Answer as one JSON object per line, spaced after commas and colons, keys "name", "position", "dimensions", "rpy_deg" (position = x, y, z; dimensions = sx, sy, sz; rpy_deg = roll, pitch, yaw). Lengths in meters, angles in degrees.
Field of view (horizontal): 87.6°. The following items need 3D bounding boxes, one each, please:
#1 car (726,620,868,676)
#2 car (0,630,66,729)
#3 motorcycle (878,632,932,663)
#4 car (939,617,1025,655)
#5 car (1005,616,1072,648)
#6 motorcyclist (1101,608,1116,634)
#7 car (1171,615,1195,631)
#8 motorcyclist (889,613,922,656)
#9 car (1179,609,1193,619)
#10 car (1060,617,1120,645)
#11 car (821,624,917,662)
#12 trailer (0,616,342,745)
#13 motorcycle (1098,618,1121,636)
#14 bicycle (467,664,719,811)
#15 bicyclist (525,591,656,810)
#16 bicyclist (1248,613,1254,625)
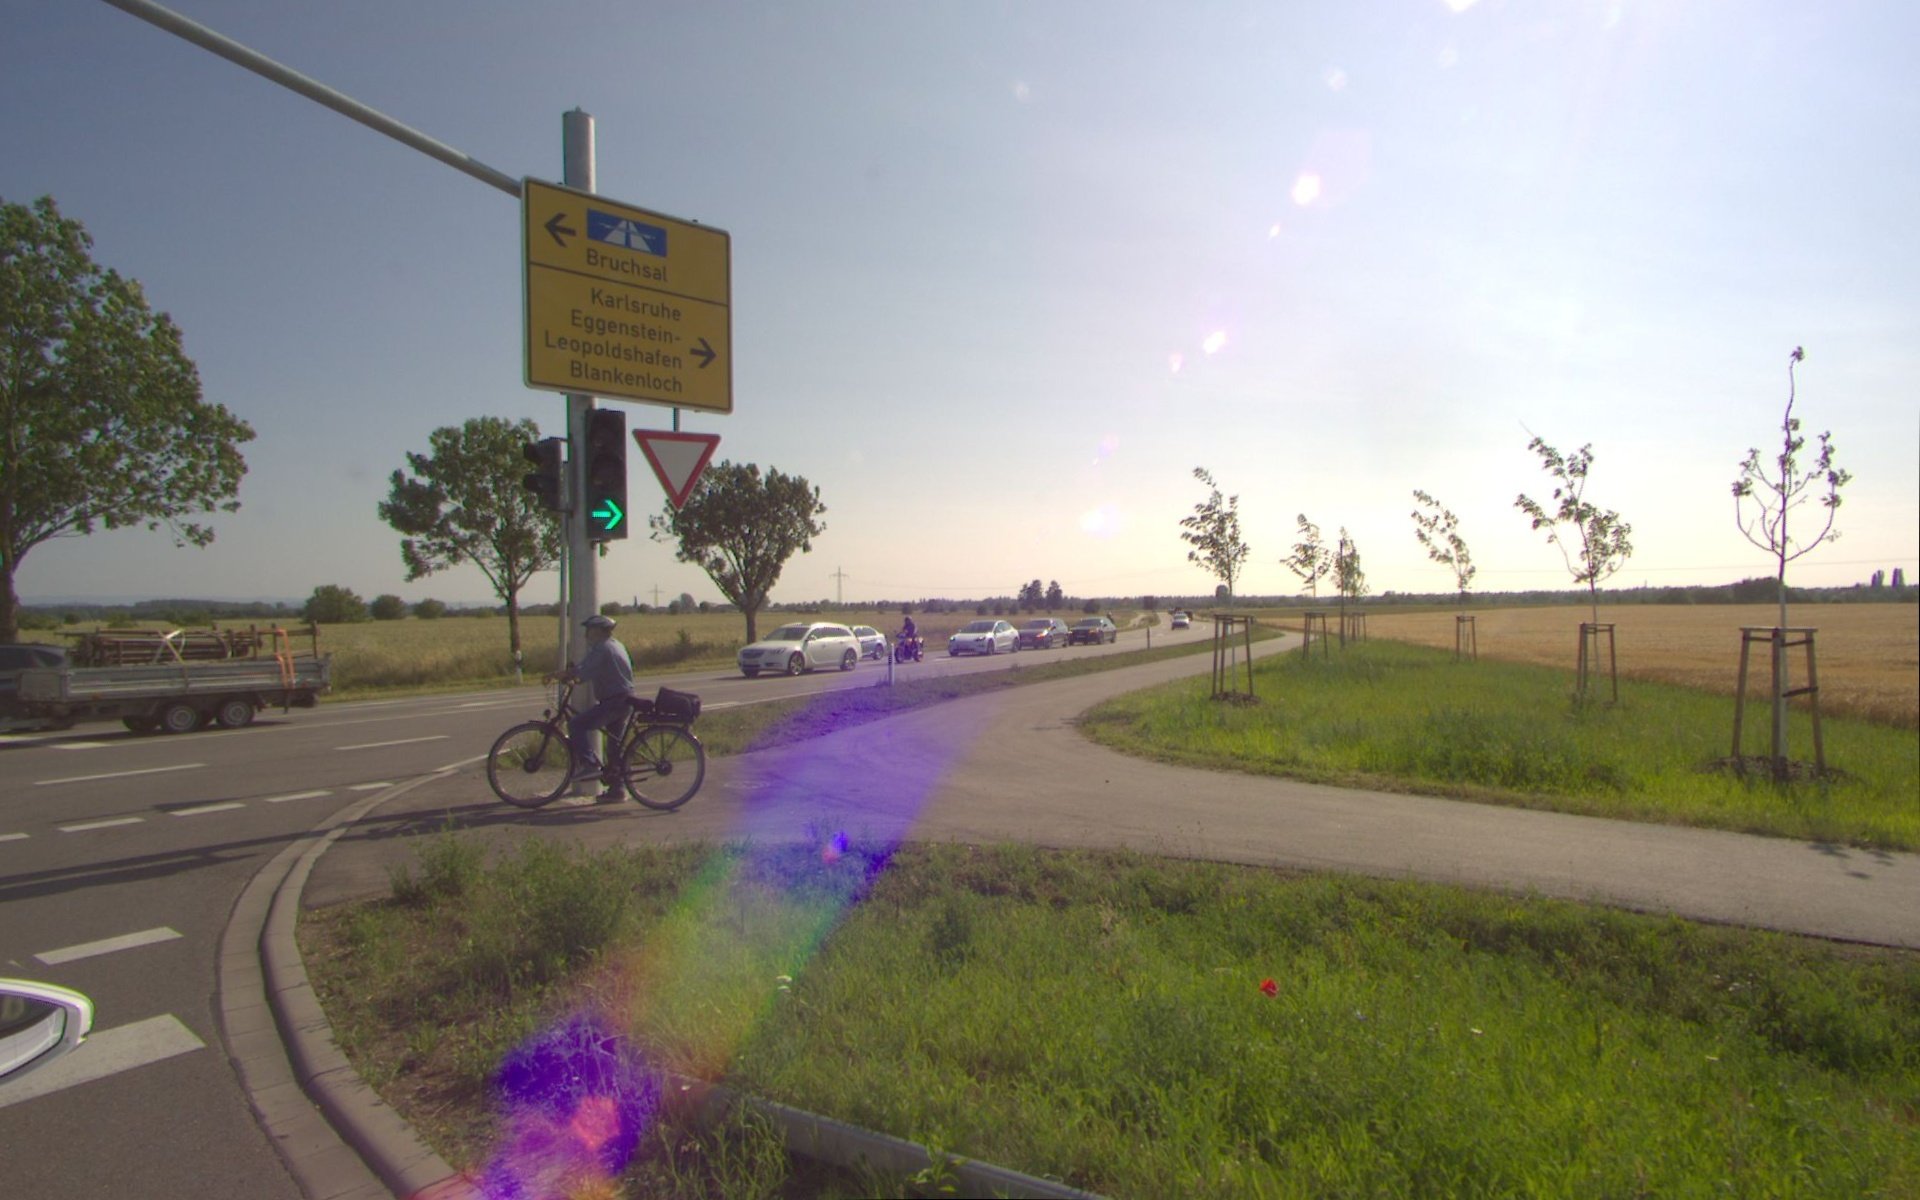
{"name": "car", "position": [-4.790, 1.402, 30.178], "dimensions": [1.738, 1.511, 4.689], "rpy_deg": [-2, -1, 28]}
{"name": "car", "position": [-17.460, 1.387, 16.285], "dimensions": [1.864, 1.646, 3.980], "rpy_deg": [-4, -2, 31]}
{"name": "motorcycle", "position": [-1.979, 1.712, 36.466], "dimensions": [0.885, 1.057, 2.420], "rpy_deg": [-1, -1, 26]}
{"name": "car", "position": [1.007, 1.503, 42.707], "dimensions": [1.868, 1.485, 4.257], "rpy_deg": [-2, -2, 29]}
{"name": "car", "position": [3.909, 1.552, 49.002], "dimensions": [1.866, 1.480, 4.292], "rpy_deg": [-1, -1, 25]}
{"name": "motorcyclist", "position": [8.925, 1.260, 60.164], "dimensions": [0.669, 1.514, 0.844], "rpy_deg": [-1, 0, 25]}
{"name": "car", "position": [21.515, 2.187, 96.494], "dimensions": [1.663, 1.421, 3.992], "rpy_deg": [-2, -1, 20]}
{"name": "motorcyclist", "position": [-1.986, 1.242, 36.427], "dimensions": [0.670, 1.535, 1.176], "rpy_deg": [-1, 0, 27]}
{"name": "car", "position": [40.325, 2.482, 178.664], "dimensions": [1.810, 1.858, 4.466], "rpy_deg": [1, 0, 7]}
{"name": "car", "position": [7.208, 1.663, 55.166], "dimensions": [1.866, 1.455, 4.780], "rpy_deg": [-1, -1, 26]}
{"name": "car", "position": [-3.694, 1.750, 41.463], "dimensions": [1.611, 1.394, 4.400], "rpy_deg": [-3, -2, 31]}
{"name": "trailer", "position": [-13.022, 1.170, 16.019], "dimensions": [1.952, 1.760, 4.987], "rpy_deg": [-2, -1, 31]}
{"name": "motorcycle", "position": [9.011, 1.619, 60.250], "dimensions": [0.859, 1.087, 1.962], "rpy_deg": [-1, -1, 25]}
{"name": "bicycle", "position": [-3.079, 1.171, 8.592], "dimensions": [1.910, 1.165, 0.681], "rpy_deg": [3, -2, -13]}
{"name": "bicyclist", "position": [-3.144, 0.857, 8.596], "dimensions": [0.901, 1.787, 0.619], "rpy_deg": [2, -2, -13]}
{"name": "bicyclist", "position": [37.306, 2.468, 128.367], "dimensions": [0.627, 1.476, 0.817], "rpy_deg": [1, 0, 2]}
